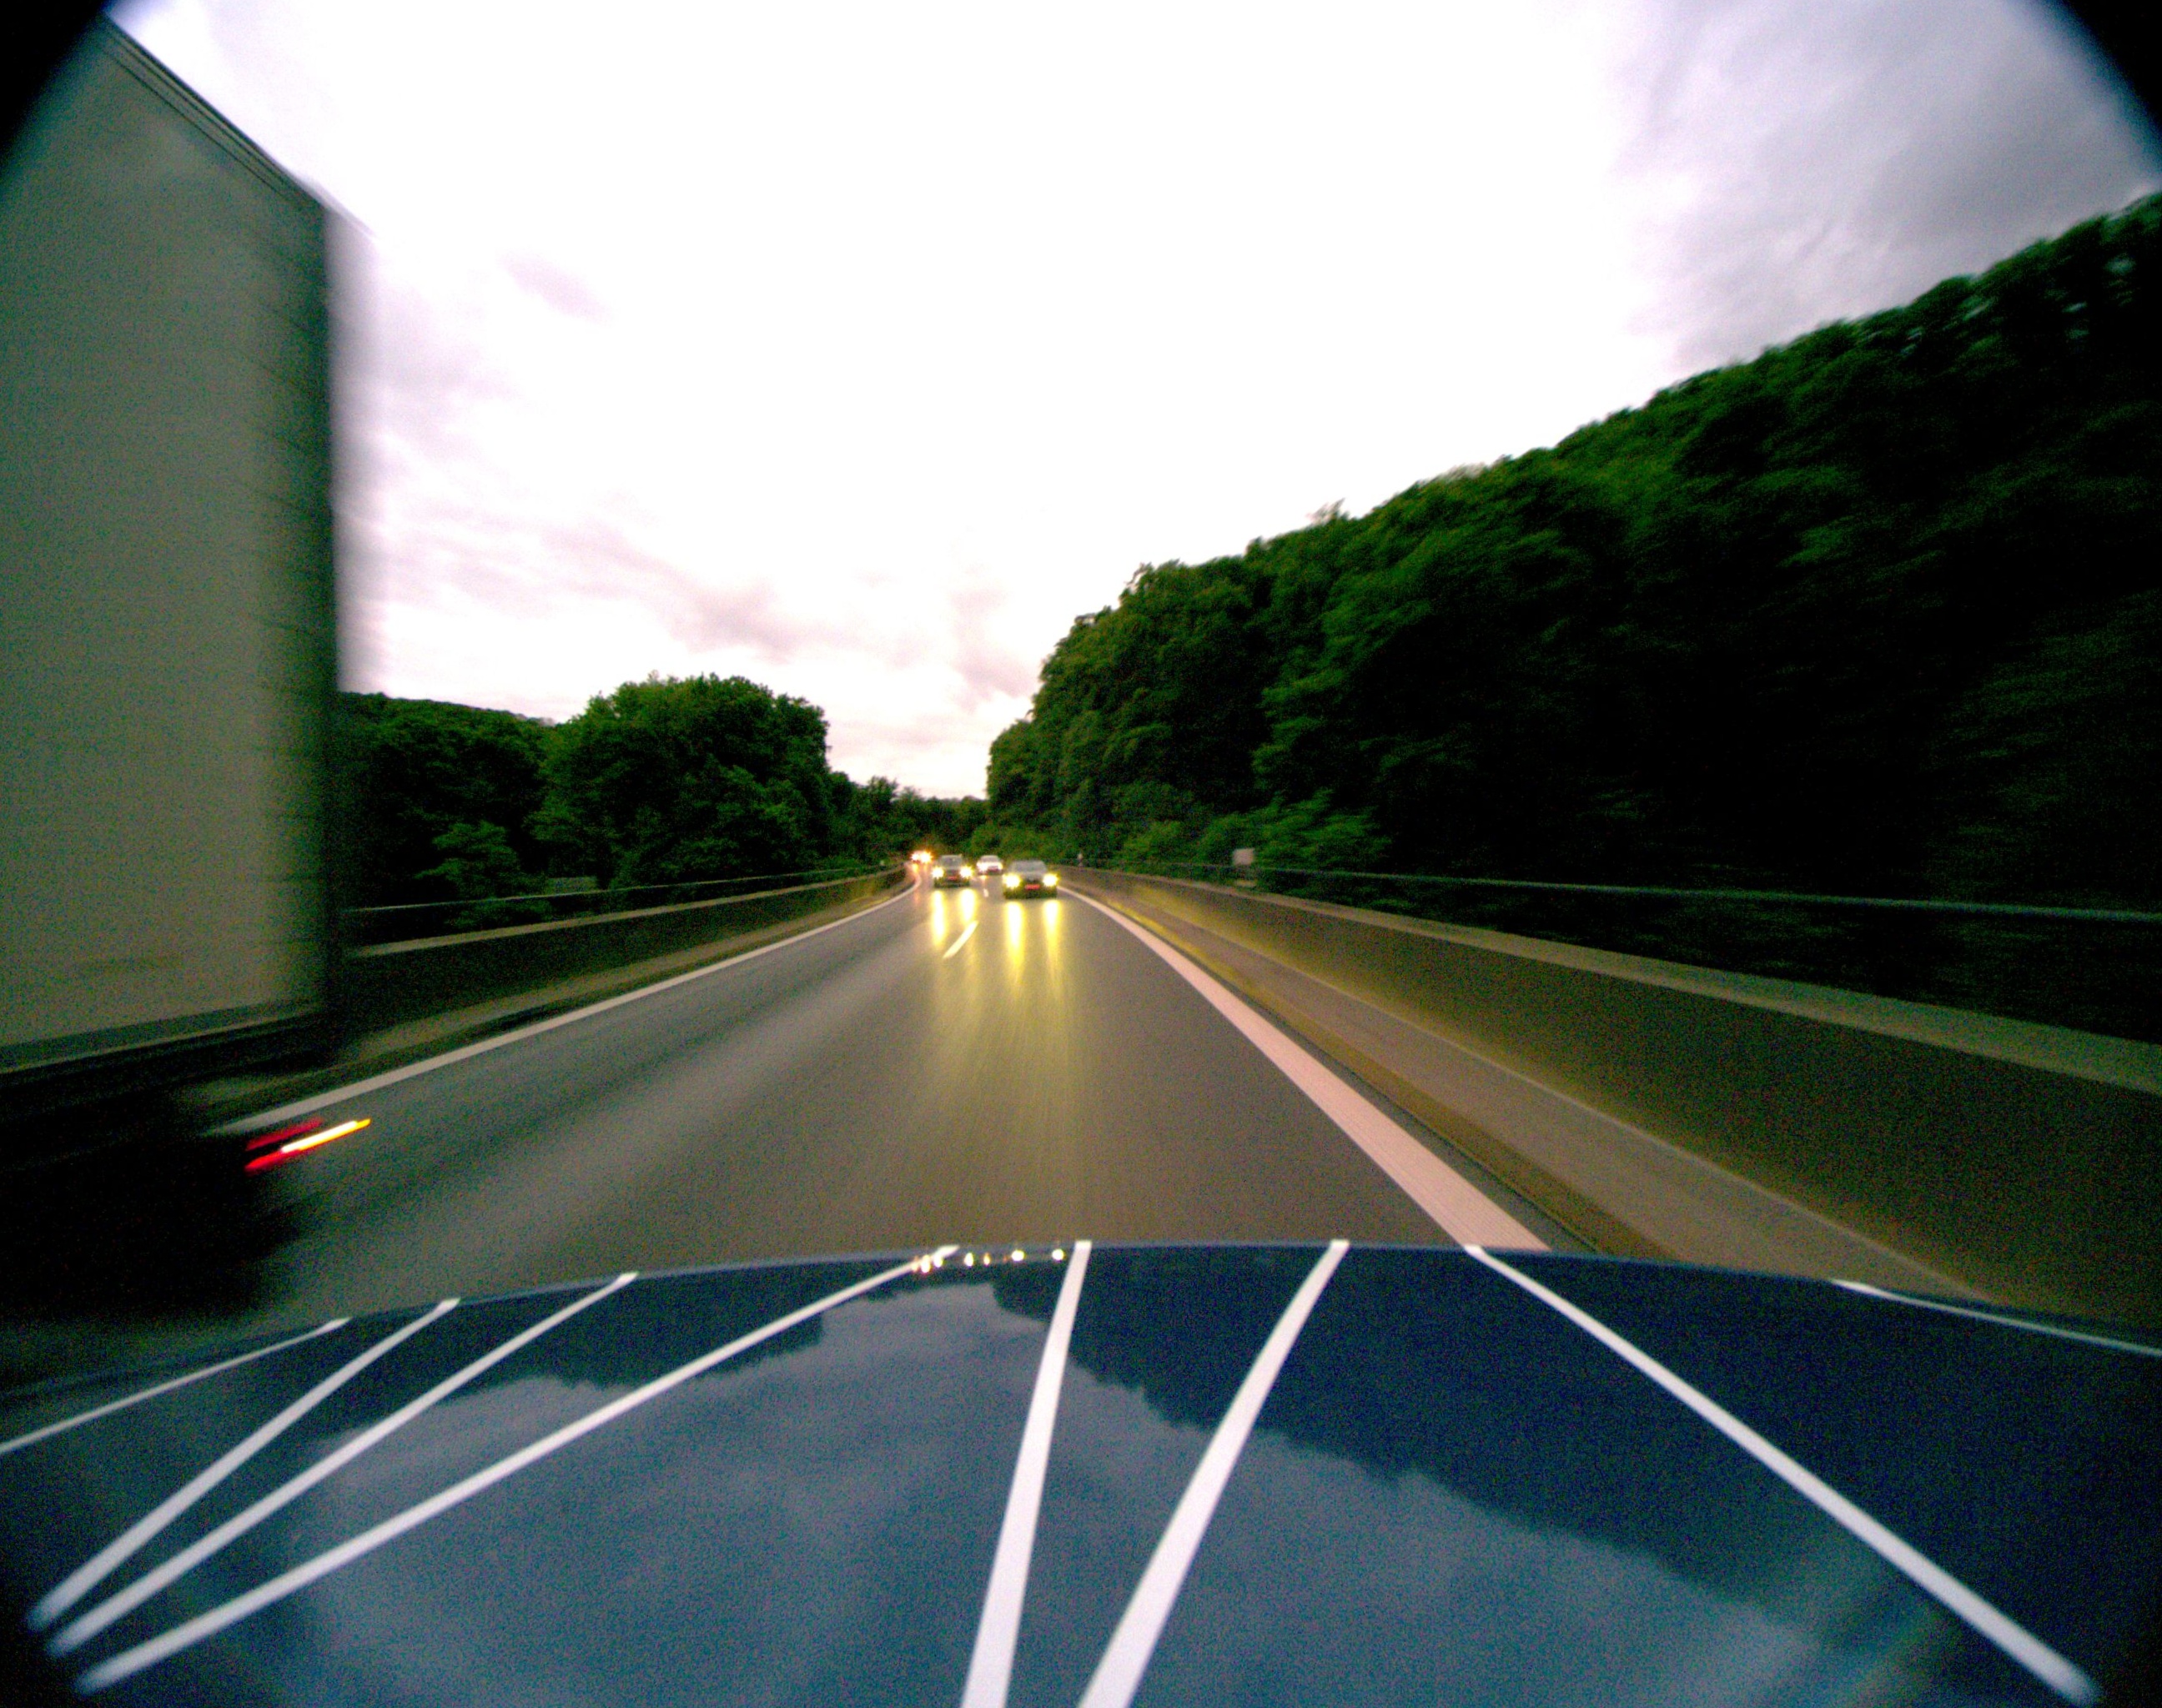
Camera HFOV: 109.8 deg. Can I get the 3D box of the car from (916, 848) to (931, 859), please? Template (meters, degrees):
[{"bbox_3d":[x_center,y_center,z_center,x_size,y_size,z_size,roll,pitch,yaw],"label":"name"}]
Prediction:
[{"bbox_3d":[-23.867,-0.084,115.284,2.001,1.608,3.996,3,-1,-10],"label":"car"}]

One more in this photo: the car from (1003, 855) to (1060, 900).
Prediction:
[{"bbox_3d":[-1.877,0.836,28.926,1.999,1.499,3.998,-1,0,-4],"label":"car"}]

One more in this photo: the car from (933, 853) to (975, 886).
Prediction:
[{"bbox_3d":[-6.894,0.810,40.929,2.001,1.630,3.996,-2,0,-12],"label":"car"}]

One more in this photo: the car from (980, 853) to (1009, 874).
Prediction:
[{"bbox_3d":[-6.780,0.721,59.227,2.000,1.499,3.996,2,0,-10],"label":"car"}]
